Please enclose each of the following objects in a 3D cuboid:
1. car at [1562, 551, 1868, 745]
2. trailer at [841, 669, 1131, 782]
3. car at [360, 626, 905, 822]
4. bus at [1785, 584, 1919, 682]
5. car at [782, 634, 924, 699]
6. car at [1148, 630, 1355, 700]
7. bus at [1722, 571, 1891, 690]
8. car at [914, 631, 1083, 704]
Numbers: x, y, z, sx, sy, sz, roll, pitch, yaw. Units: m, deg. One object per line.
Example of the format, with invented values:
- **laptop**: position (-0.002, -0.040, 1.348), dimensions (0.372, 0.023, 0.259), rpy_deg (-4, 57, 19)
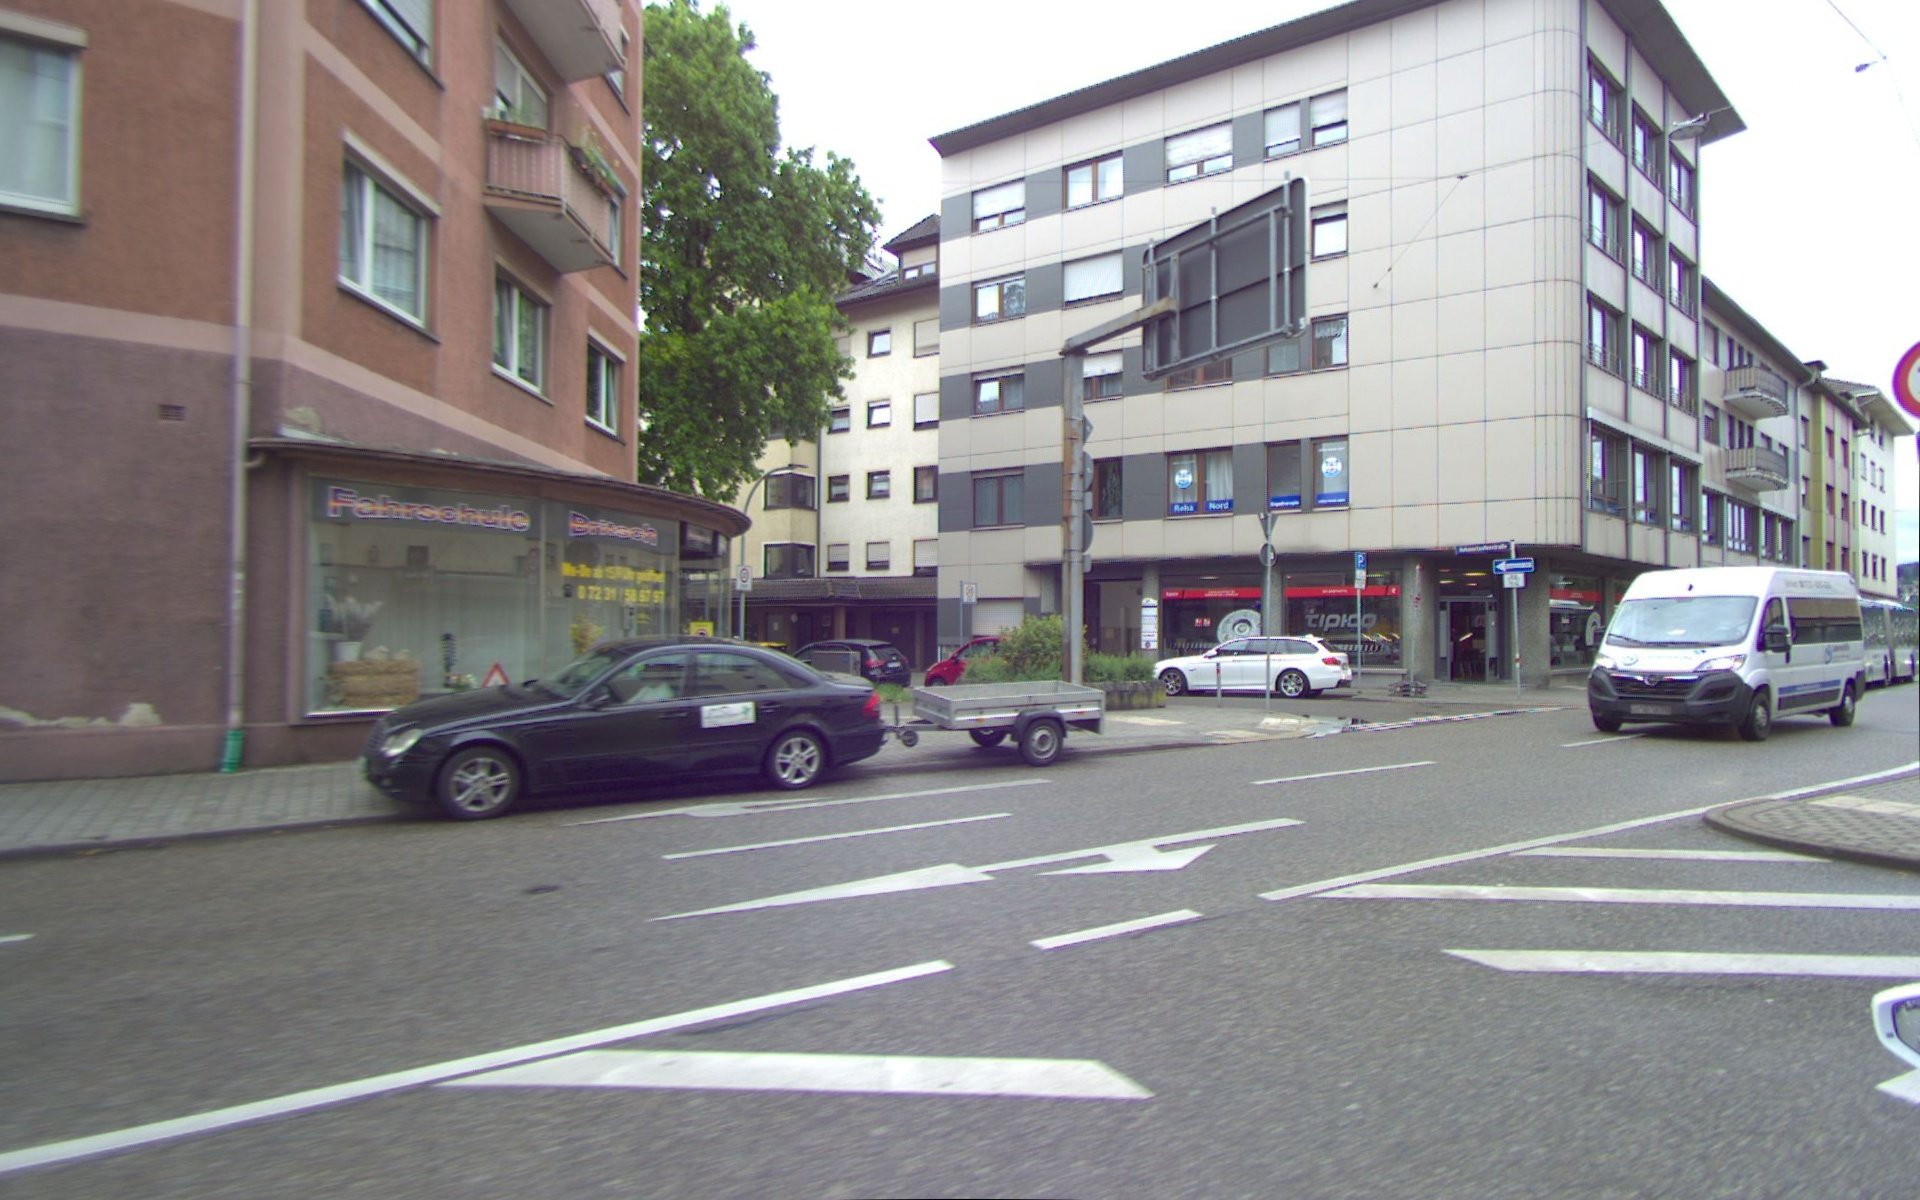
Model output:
- **car**: position (11.795, 0.740, 15.494), dimensions (6.293, 2.467, 2.072), rpy_deg (2, -3, -37)
- **trailer**: position (0.322, 1.392, 11.832), dimensions (3.021, 0.962, 1.579), rpy_deg (2, 3, -31)
- **car**: position (-3.056, 1.027, 9.796), dimensions (4.741, 1.416, 1.839), rpy_deg (2, 1, -33)
- **bus**: position (33.263, 1.299, 37.225), dimensions (9.222, 3.230, 2.702), rpy_deg (3, -3, -41)
- **car**: position (-2.736, 1.627, 25.292), dimensions (3.476, 1.502, 1.684), rpy_deg (-2, -3, 42)
- **car**: position (7.105, 1.535, 24.576), dimensions (4.560, 1.553, 1.903), rpy_deg (-1, -3, 30)
- **bus**: position (26.492, 1.031, 31.244), dimensions (8.844, 3.230, 2.735), rpy_deg (3, -3, -41)
- **car**: position (0.827, 1.470, 22.518), dimensions (3.472, 1.502, 1.687), rpy_deg (-1, -3, 38)
